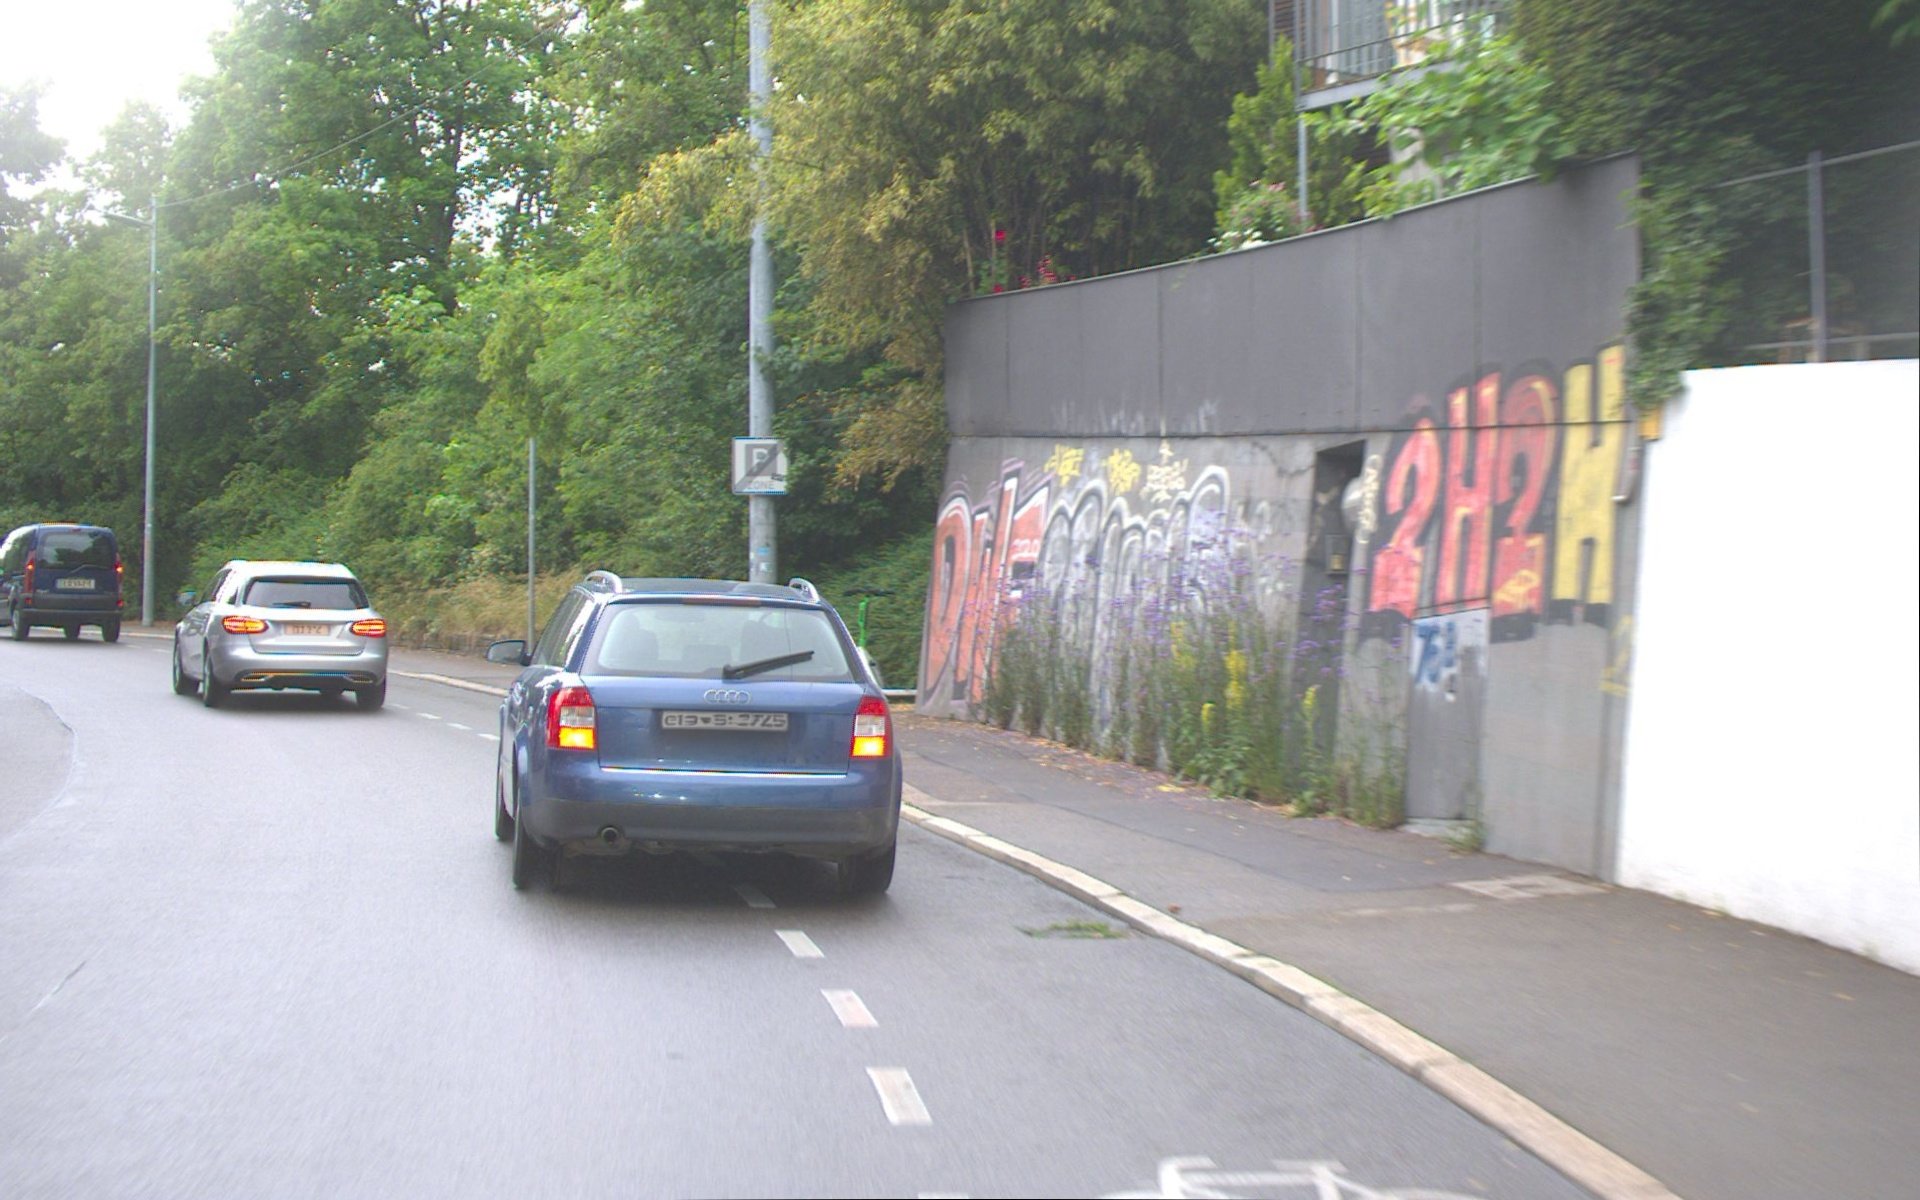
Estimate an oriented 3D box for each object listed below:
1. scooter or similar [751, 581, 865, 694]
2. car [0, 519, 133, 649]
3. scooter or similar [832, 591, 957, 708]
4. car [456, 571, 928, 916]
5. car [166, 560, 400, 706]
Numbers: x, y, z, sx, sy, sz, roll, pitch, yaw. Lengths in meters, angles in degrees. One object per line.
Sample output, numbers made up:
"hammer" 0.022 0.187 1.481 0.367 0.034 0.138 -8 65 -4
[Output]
"scooter or similar" -1.558 0.375 35.042 0.346 1.113 1.422 2 -1 -39
"car" -14.553 -0.258 54.924 1.788 1.947 4.001 -2 1 -25
"scooter or similar" -0.655 0.479 33.909 0.346 1.113 1.422 2 0 -43
"car" -1.418 0.606 16.625 1.746 1.403 4.001 2 0 -11
"car" -7.026 0.309 35.406 1.890 1.384 4.001 1 0 -18
